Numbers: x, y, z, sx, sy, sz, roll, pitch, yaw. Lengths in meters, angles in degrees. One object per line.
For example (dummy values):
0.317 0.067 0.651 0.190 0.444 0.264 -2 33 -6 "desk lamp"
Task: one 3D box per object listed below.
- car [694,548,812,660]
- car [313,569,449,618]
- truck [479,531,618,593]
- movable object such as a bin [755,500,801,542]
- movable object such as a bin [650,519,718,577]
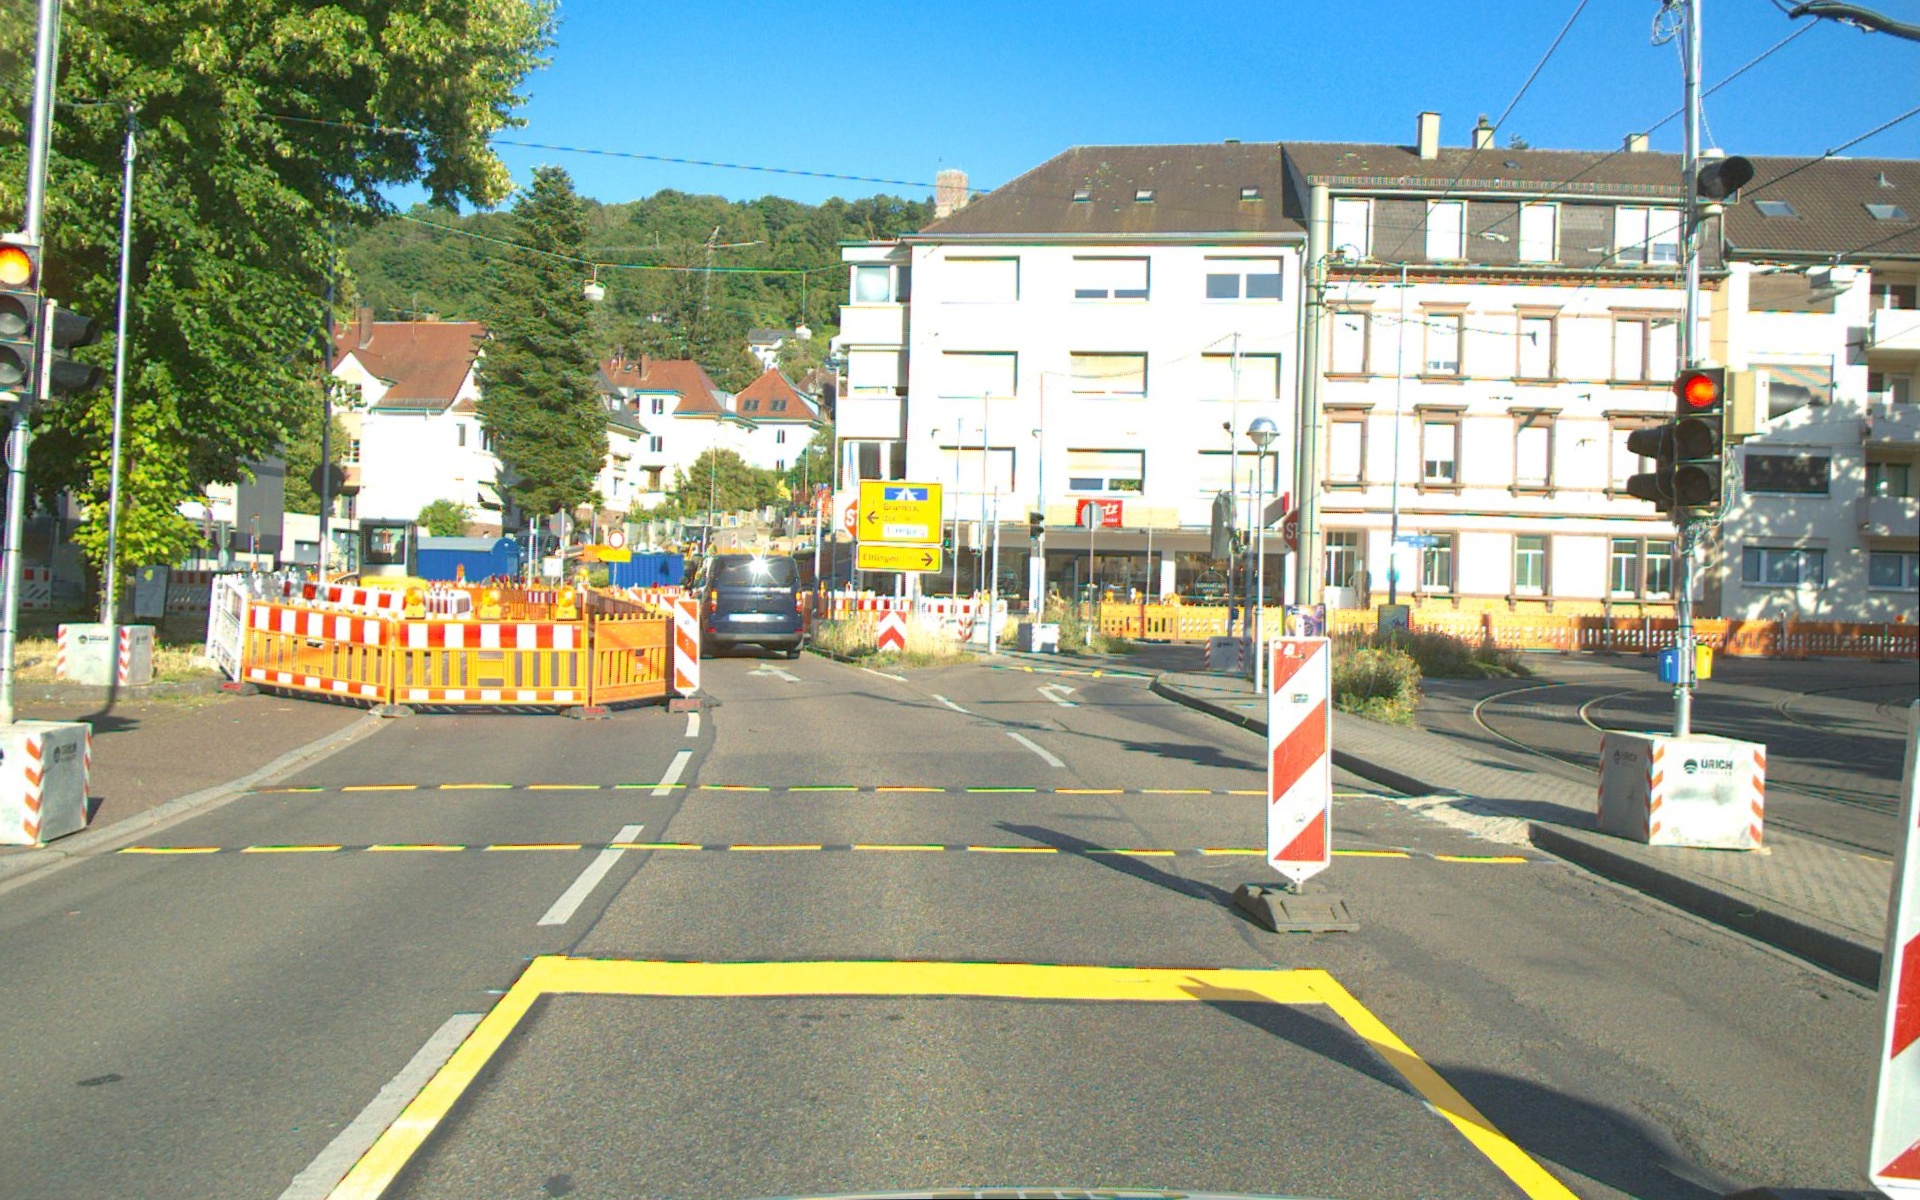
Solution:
-4.264 0.022 33.433 2.025 2.048 4.988 2 1 -11 "car"
-18.047 -0.210 51.547 3.909 1.434 1.798 1 0 26 "car"
-17.606 -1.571 71.485 2.306 2.458 9.160 1 0 10 "truck"
-12.807 -5.552 116.699 2.144 2.737 4.003 1 0 9 "movable object such as a bin"
-13.674 -2.541 82.161 2.144 2.737 4.003 1 0 9 "movable object such as a bin"
